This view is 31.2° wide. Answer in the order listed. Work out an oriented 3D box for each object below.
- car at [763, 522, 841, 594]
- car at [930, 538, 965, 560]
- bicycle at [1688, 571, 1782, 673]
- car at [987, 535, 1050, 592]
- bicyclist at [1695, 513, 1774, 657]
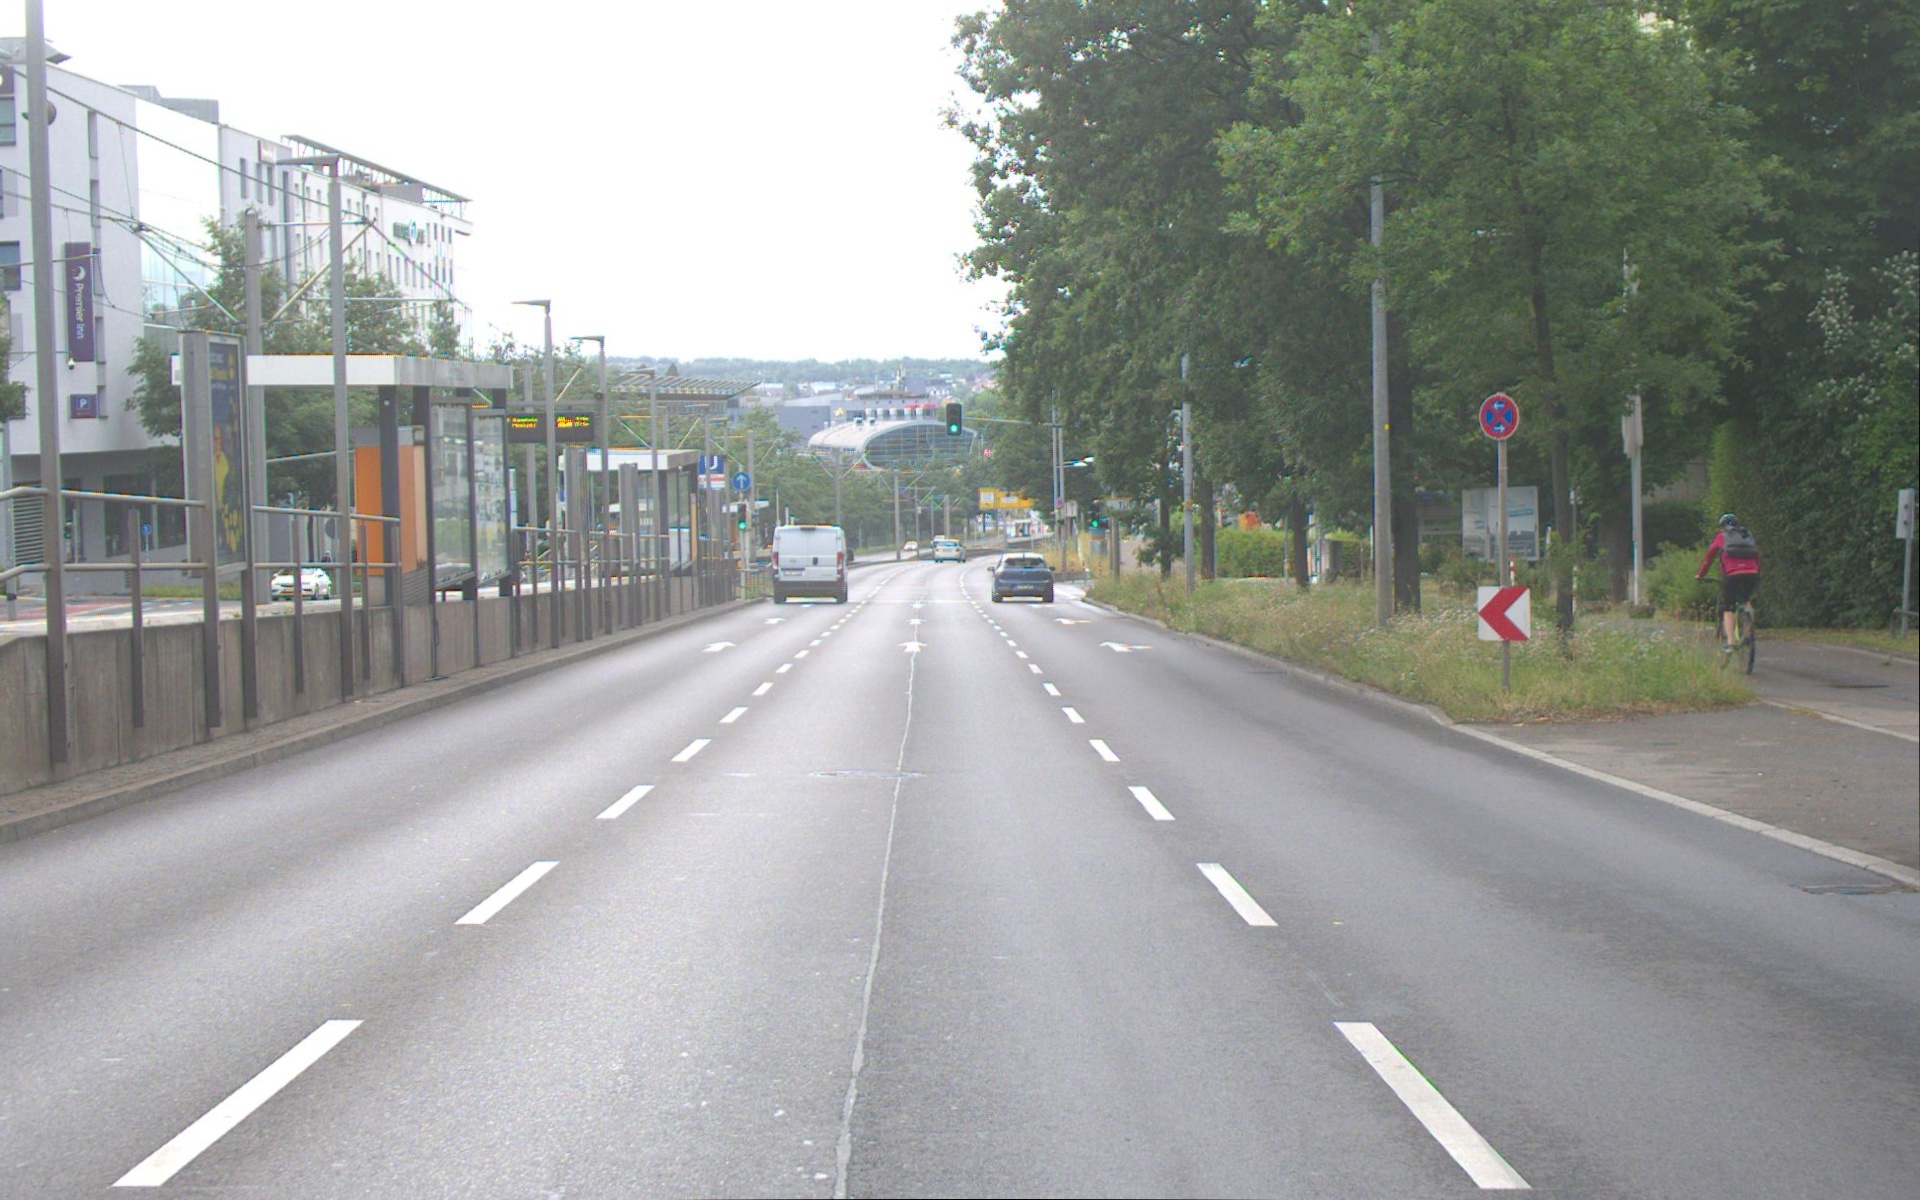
[{"bbox_3d":[-4.553,-1.231,99.866,2.093,2.047,4.606,0,1,-1],"label":"car"},{"bbox_3d":[-0.789,-3.246,219.117,1.783,1.385,3.999,0,1,6],"label":"car"},{"bbox_3d":[8.615,0.226,38.293,0.580,1.085,1.906,1,1,-1],"label":"bicycle"},{"bbox_3d":[1.725,-1.093,102.360,1.774,1.685,3.845,0,1,-1],"label":"car"},{"bbox_3d":[8.611,-0.170,38.230,0.646,1.573,0.855,1,1,-1],"label":"bicyclist"}]
